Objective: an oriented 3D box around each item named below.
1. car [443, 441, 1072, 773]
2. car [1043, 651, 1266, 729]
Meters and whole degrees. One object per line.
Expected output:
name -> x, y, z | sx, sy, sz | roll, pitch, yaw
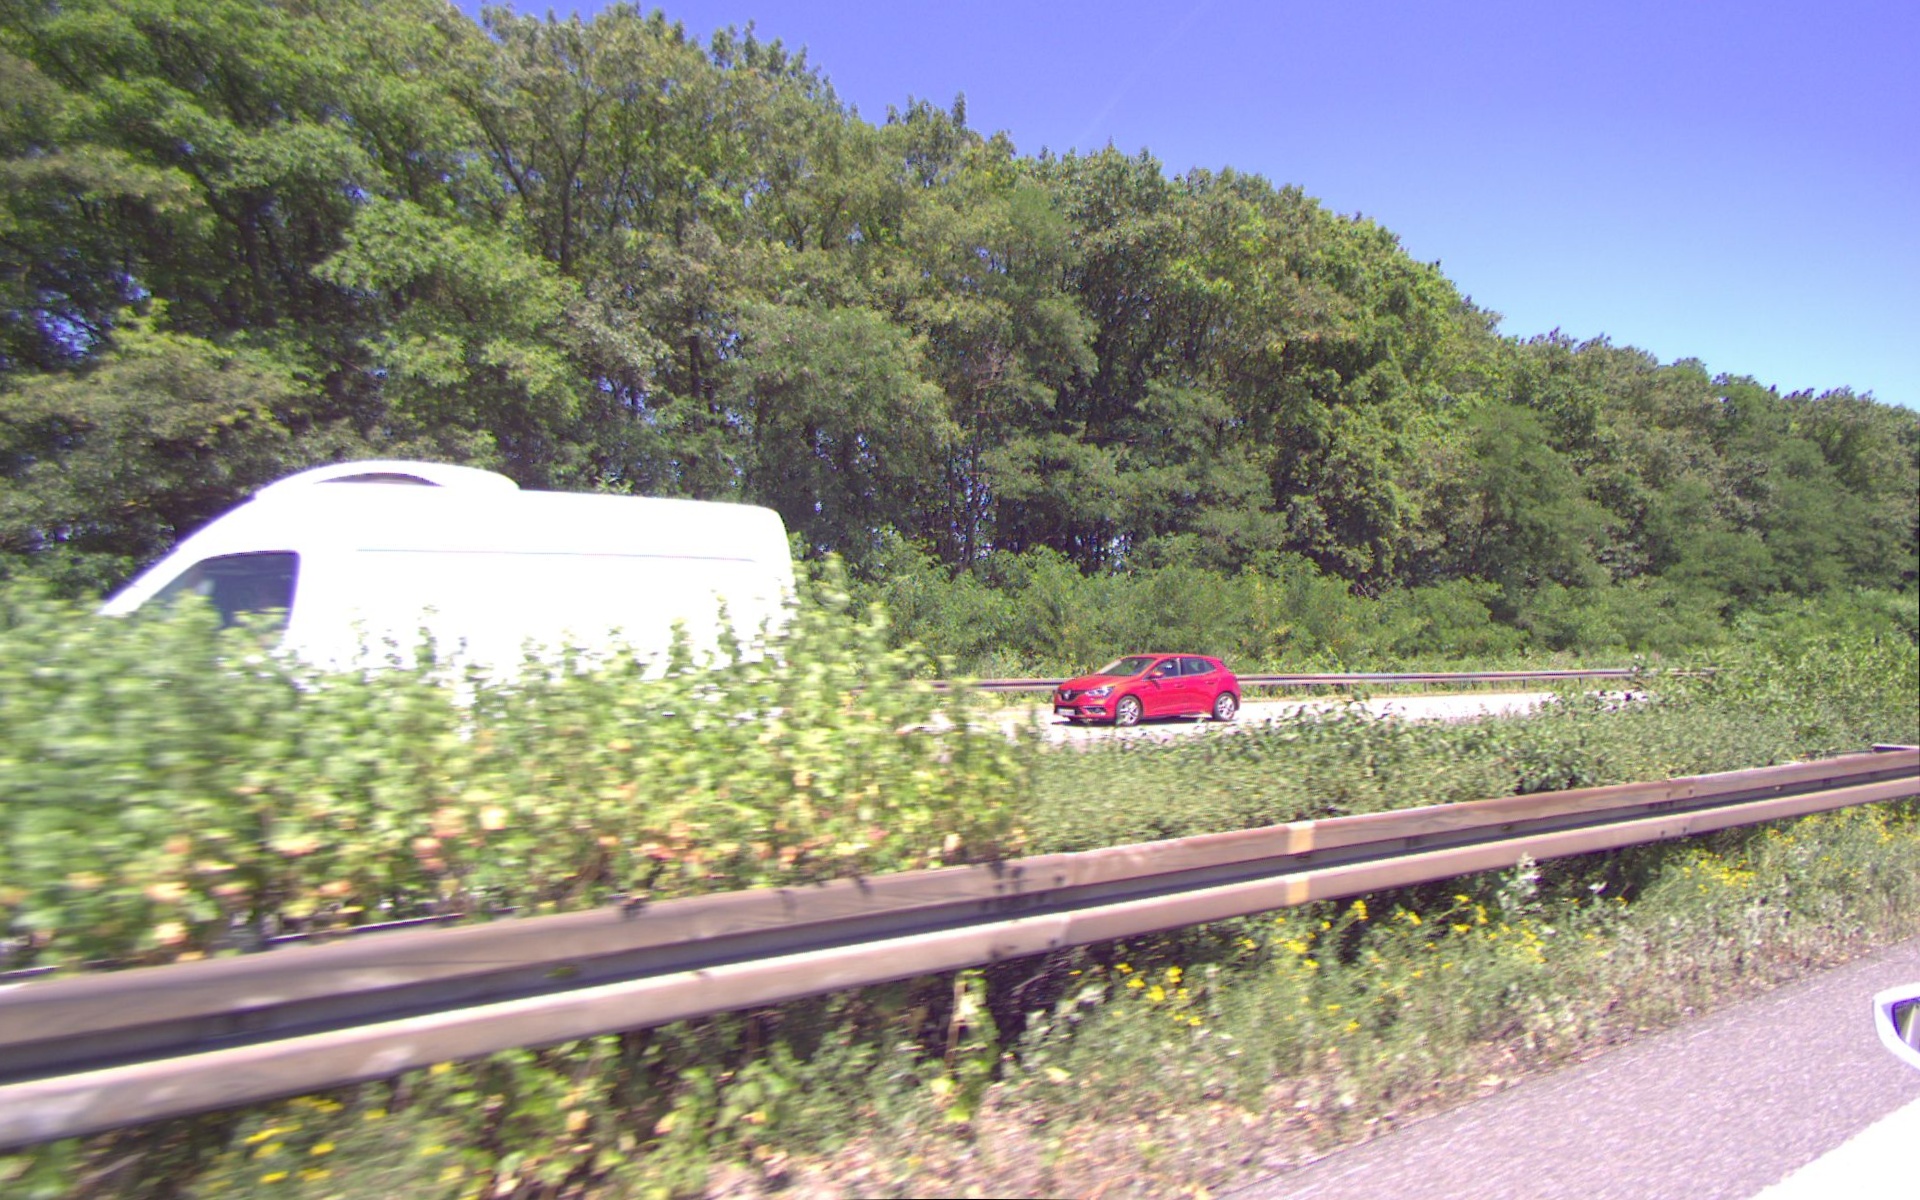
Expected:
car -> -1.678, 0.107, 9.008 | 5.147, 2.261, 1.984 | 2, 0, -30
car -> 4.155, 1.833, 21.278 | 4.516, 1.422, 1.923 | 2, -1, -31
